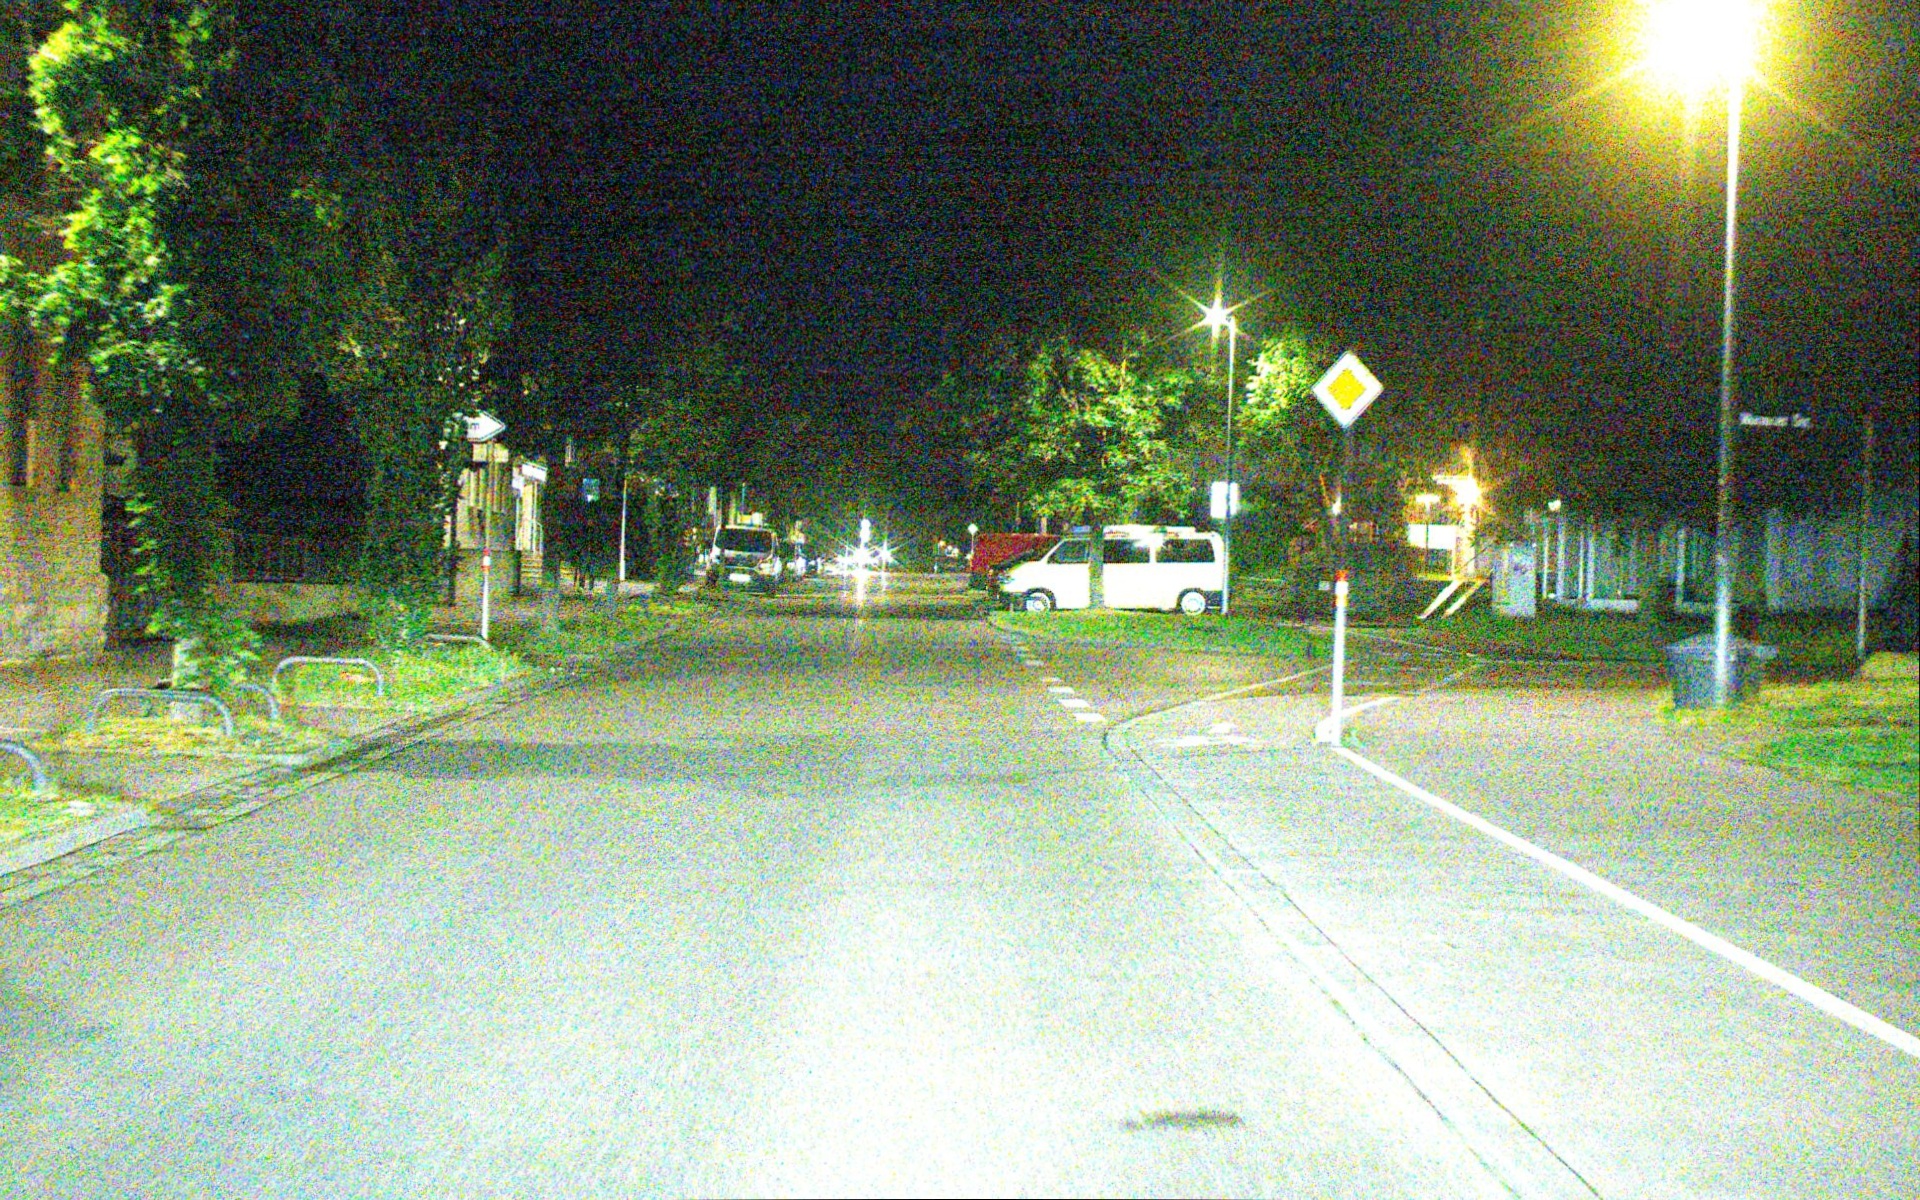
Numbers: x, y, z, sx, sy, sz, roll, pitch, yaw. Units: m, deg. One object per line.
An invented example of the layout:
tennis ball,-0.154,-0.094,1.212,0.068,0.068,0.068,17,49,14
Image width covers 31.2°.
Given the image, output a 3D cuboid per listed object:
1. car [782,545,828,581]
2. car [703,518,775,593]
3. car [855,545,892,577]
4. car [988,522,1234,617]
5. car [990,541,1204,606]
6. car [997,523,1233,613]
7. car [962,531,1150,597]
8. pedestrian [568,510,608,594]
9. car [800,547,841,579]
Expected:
car,-5.885,-1.415,130.784,1.683,1.326,3.600,1,1,-2
car,-6.272,-1.278,98.046,1.824,1.980,4.466,3,1,-2
car,-4.621,-2.099,183.195,1.927,1.643,3.822,0,1,-2
car,3.232,-0.674,74.459,5.182,2.007,2.102,0,1,-2
car,3.367,-0.666,85.530,5.182,1.588,2.102,0,1,-2
car,3.461,-0.729,77.548,5.182,2.007,2.102,0,1,-2
car,2.794,-1.052,99.251,5.184,1.880,2.101,0,1,9
pedestrian,-9.094,-1.167,84.084,0.785,2.007,1.204,3,1,-1
car,-5.962,-1.581,147.116,1.683,1.326,3.600,1,1,-2
